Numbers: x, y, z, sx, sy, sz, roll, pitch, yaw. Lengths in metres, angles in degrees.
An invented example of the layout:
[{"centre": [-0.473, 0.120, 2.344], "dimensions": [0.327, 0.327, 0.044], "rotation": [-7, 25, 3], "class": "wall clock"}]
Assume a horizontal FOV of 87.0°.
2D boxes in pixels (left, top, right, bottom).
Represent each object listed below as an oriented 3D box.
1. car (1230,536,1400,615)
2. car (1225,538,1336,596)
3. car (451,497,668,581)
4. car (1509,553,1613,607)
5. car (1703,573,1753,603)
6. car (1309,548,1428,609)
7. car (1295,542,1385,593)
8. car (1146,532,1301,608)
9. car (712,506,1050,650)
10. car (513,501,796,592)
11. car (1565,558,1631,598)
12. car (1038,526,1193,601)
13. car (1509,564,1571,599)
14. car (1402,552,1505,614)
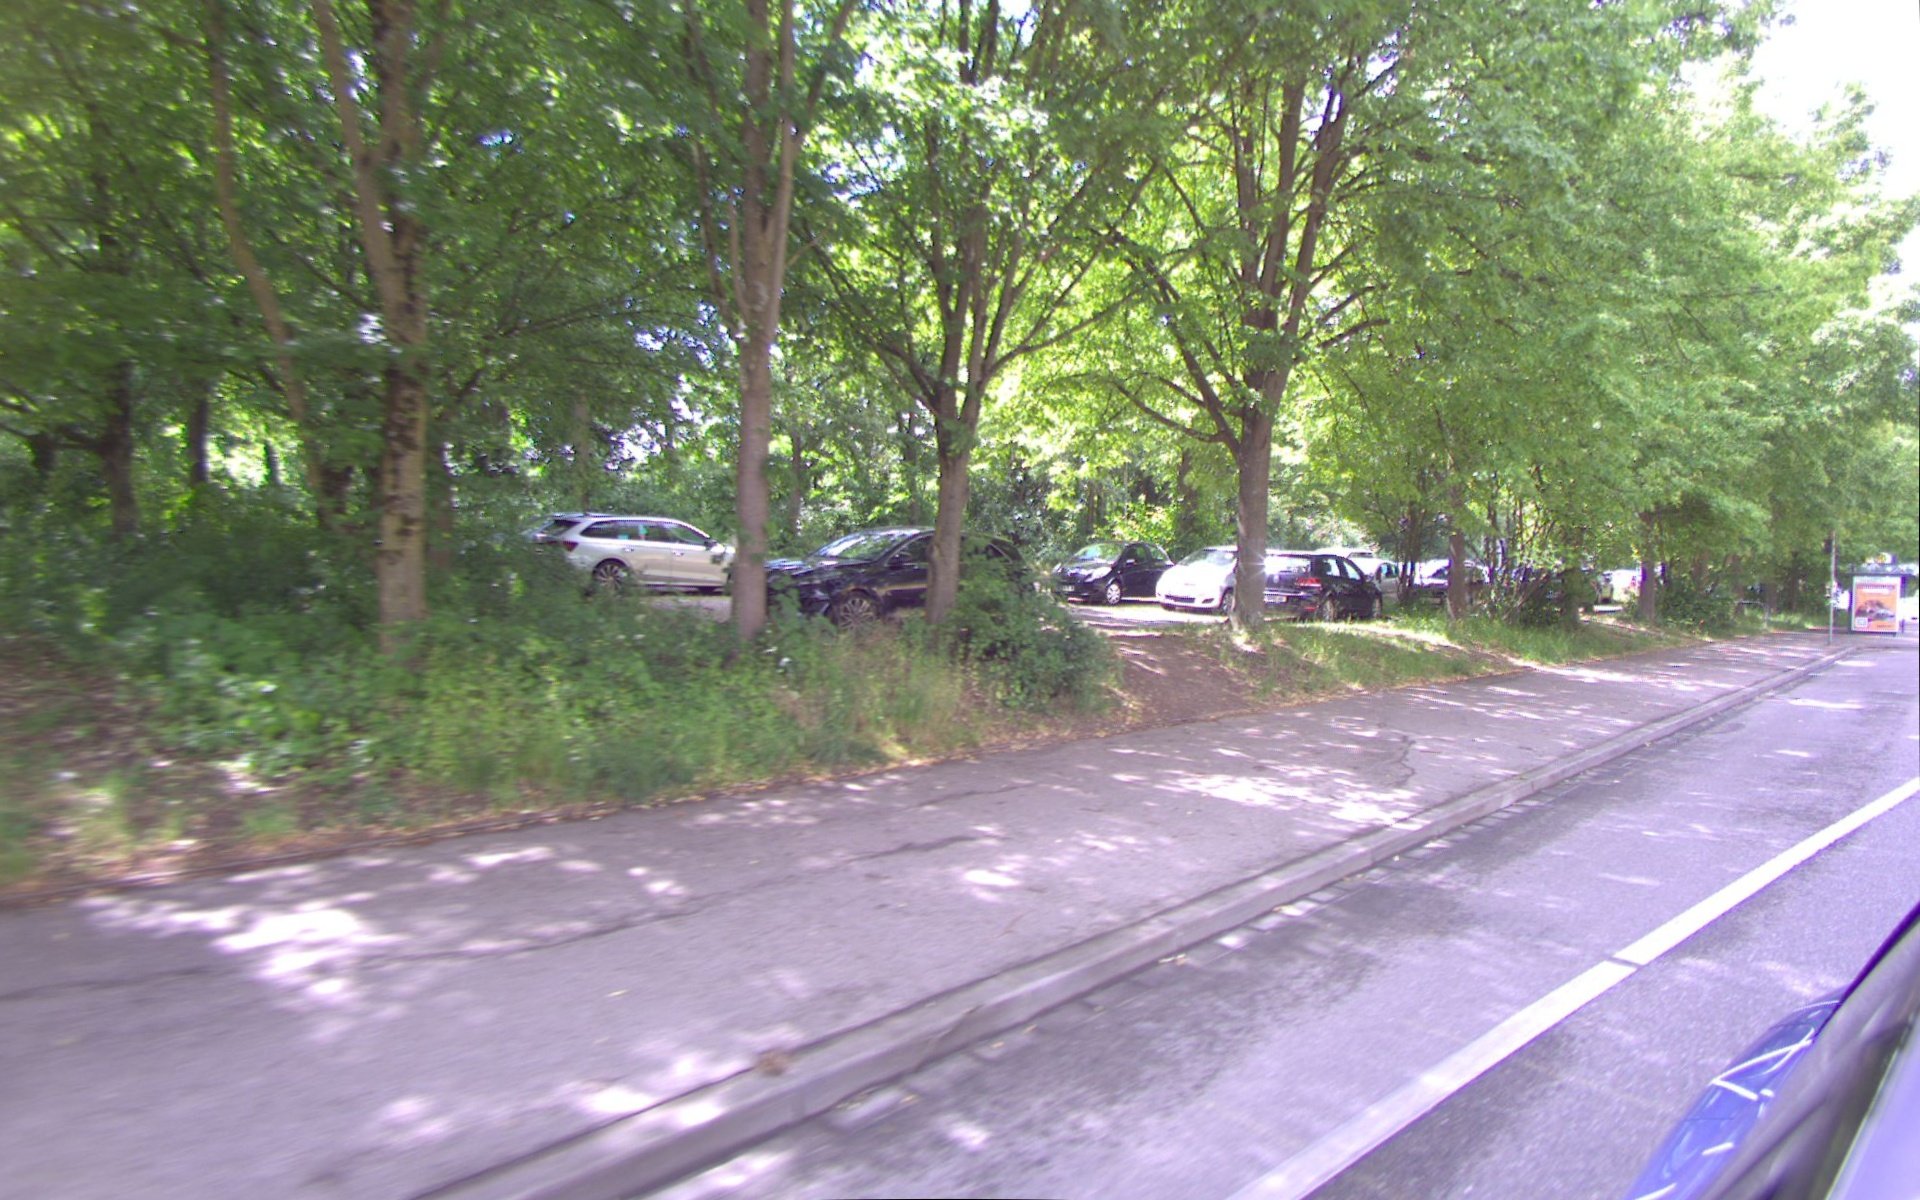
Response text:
[{"centre": [7.512, -0.512, 21.236], "dimensions": [1.799, 1.482, 3.925], "rotation": [4, 3, 45], "class": "car"}, {"centre": [9.990, -1.019, 31.453], "dimensions": [3.561, 1.633, 1.695], "rotation": [0, 4, -44], "class": "car"}, {"centre": [-8.211, -1.231, 20.920], "dimensions": [3.828, 1.525, 1.654], "rotation": [0, 4, -42], "class": "car"}, {"centre": [20.155, -0.654, 33.869], "dimensions": [4.646, 1.683, 1.848], "rotation": [0, 1, -44], "class": "car"}, {"centre": [44.103, -0.691, 58.114], "dimensions": [4.071, 1.532, 1.629], "rotation": [0, 5, -45], "class": "car"}, {"centre": [11.505, -0.594, 28.407], "dimensions": [3.561, 1.526, 1.695], "rotation": [0, 4, -44], "class": "car"}, {"centre": [14.855, -1.248, 39.450], "dimensions": [4.139, 1.811, 1.615], "rotation": [0, 5, -45], "class": "car"}, {"centre": [6.102, -0.680, 23.181], "dimensions": [1.636, 1.585, 3.925], "rotation": [4, 3, 45], "class": "car"}, {"centre": [-0.878, -0.300, 12.854], "dimensions": [4.090, 1.525, 1.718], "rotation": [0, 4, -44], "class": "car"}, {"centre": [-5.750, -0.989, 19.406], "dimensions": [4.795, 1.525, 1.998], "rotation": [0, 4, -42], "class": "car"}, {"centre": [30.147, -1.087, 47.754], "dimensions": [1.689, 1.714, 4.195], "rotation": [7, 6, 44], "class": "car"}, {"centre": [3.800, -0.865, 24.370], "dimensions": [1.610, 1.585, 3.925], "rotation": [7, 5, 45], "class": "car"}, {"centre": [28.124, -0.914, 49.034], "dimensions": [1.689, 1.509, 3.734], "rotation": [7, 6, 44], "class": "car"}, {"centre": [12.820, -0.433, 26.183], "dimensions": [1.606, 1.430, 3.766], "rotation": [4, 3, 38], "class": "car"}]
